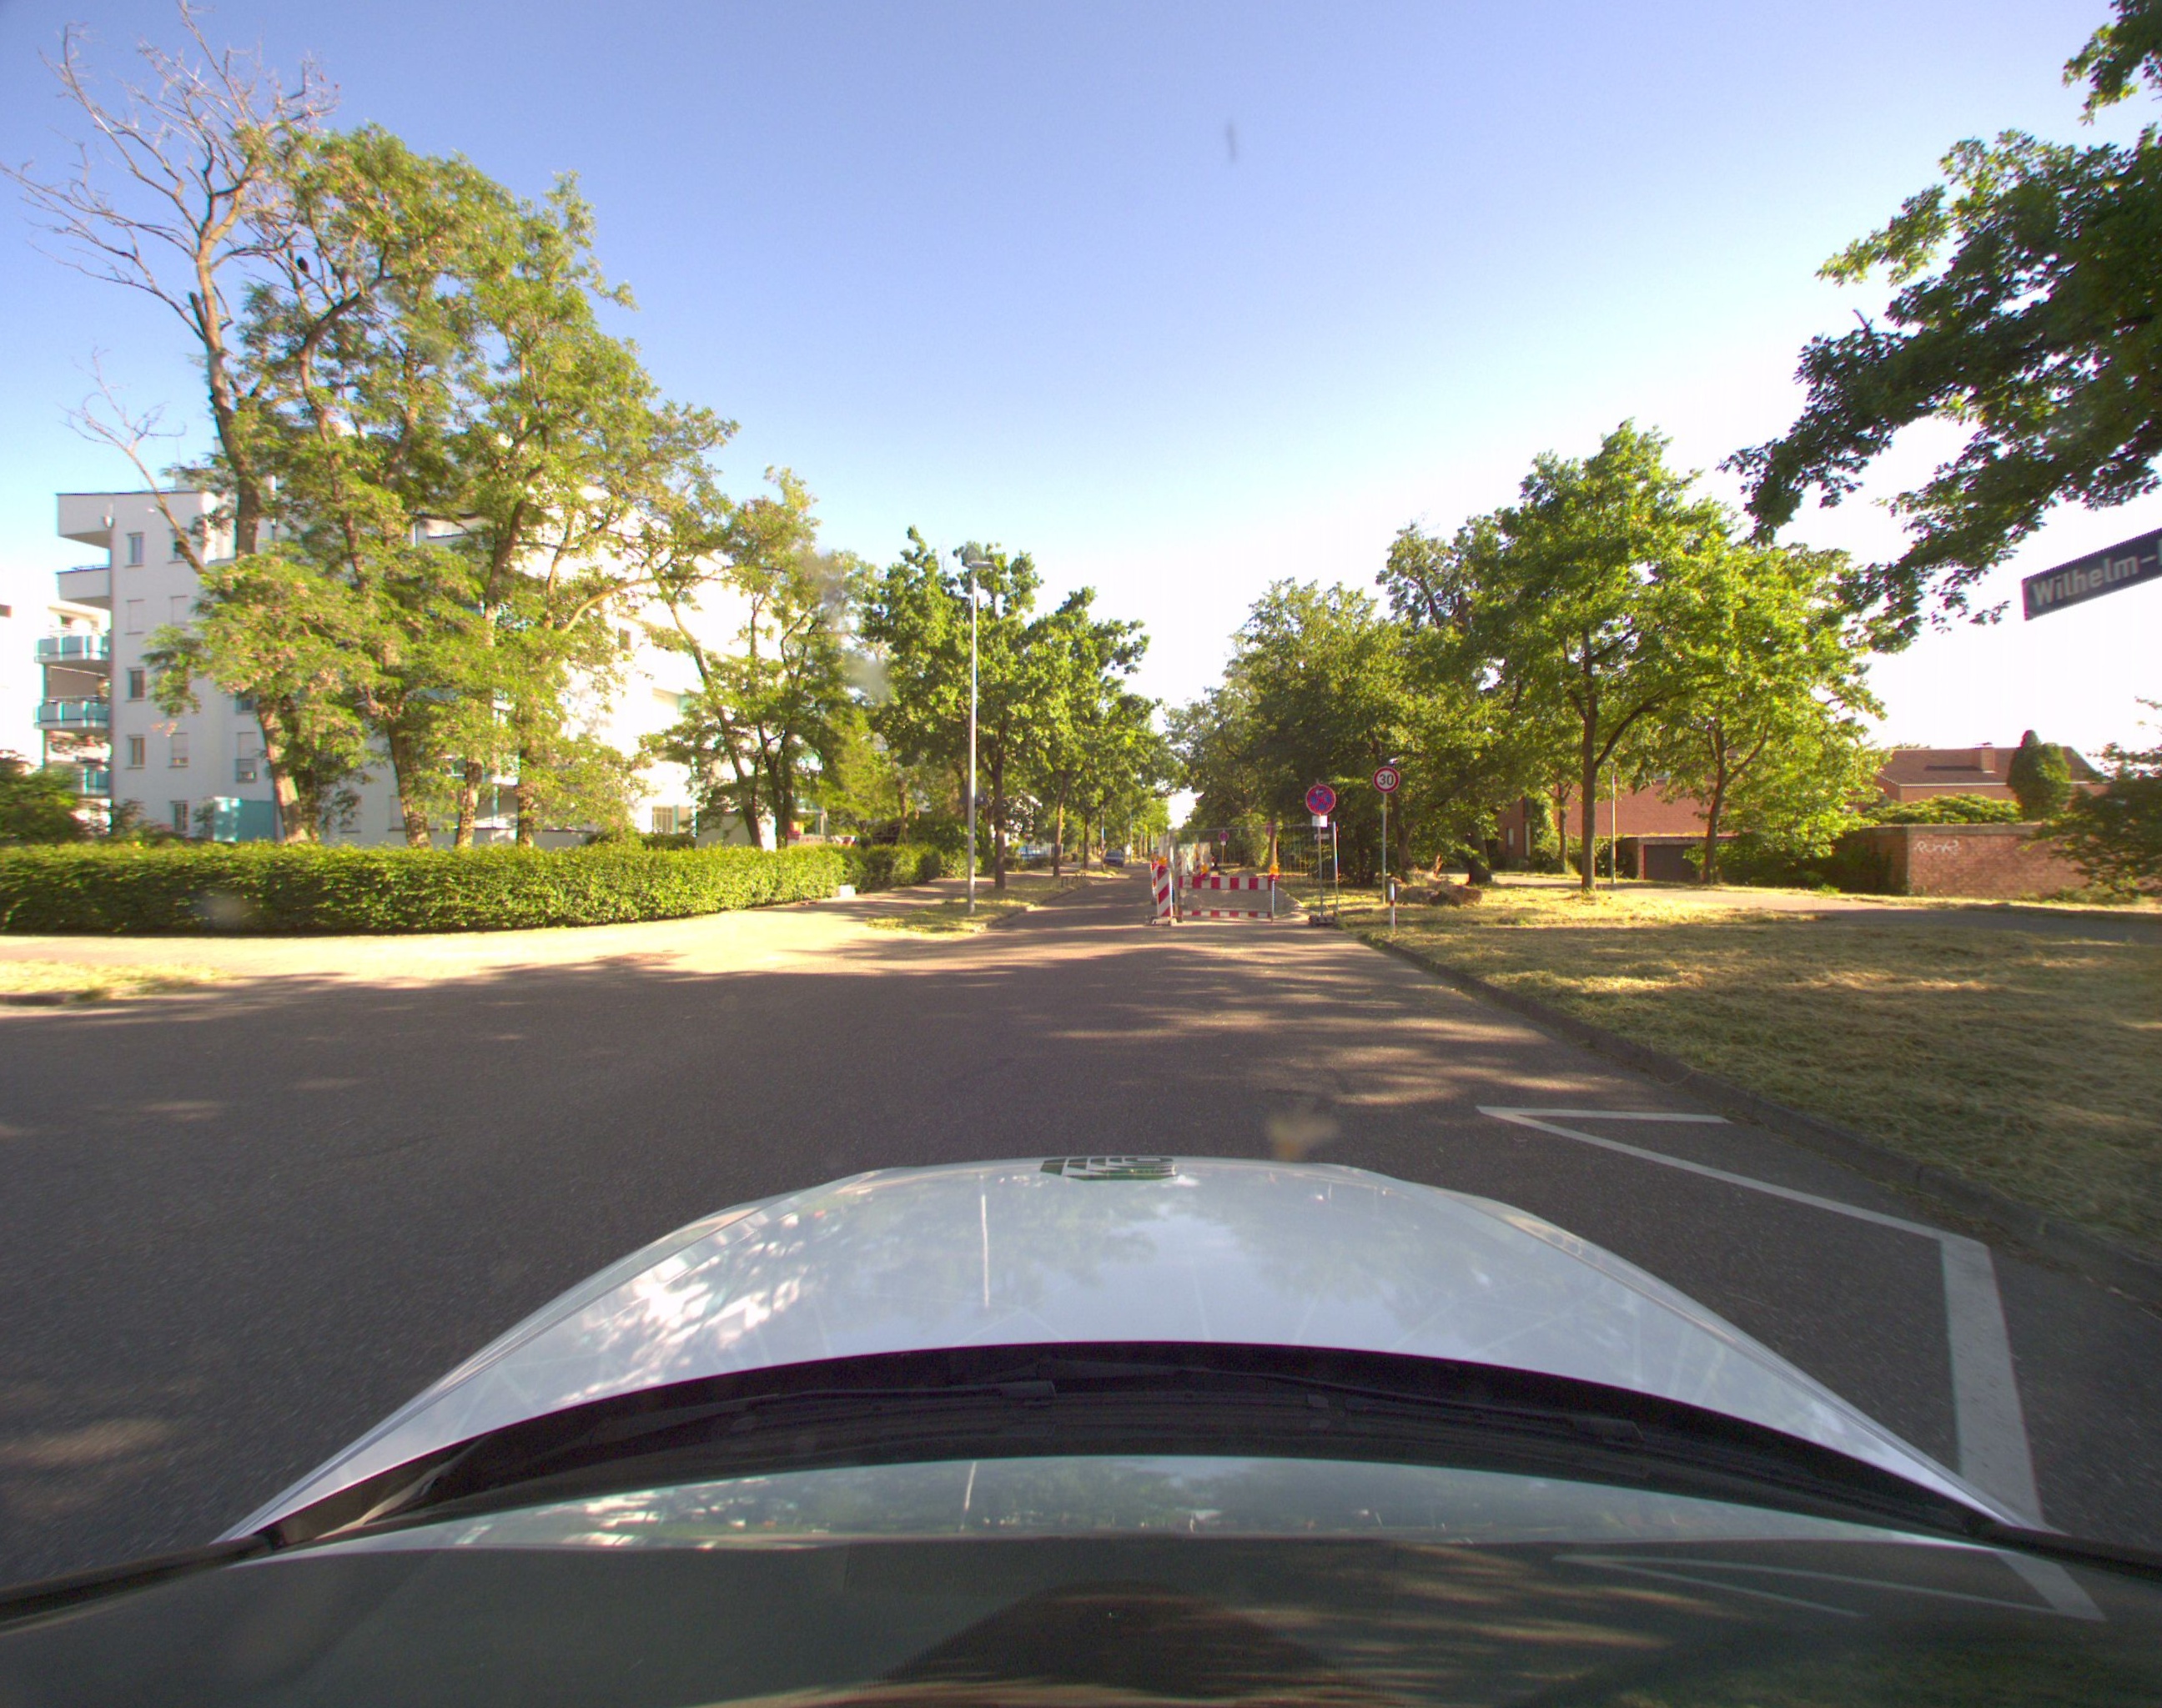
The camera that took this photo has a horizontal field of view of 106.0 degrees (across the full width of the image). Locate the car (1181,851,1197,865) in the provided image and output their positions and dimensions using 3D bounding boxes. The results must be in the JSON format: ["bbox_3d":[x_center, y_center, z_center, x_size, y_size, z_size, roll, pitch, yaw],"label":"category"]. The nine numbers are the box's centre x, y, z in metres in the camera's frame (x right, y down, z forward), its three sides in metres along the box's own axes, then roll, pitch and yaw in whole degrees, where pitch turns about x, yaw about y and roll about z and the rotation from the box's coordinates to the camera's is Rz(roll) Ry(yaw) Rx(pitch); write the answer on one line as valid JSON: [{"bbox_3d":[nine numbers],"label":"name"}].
[{"bbox_3d":[10.725,0.408,81.141,1.355,1.302,3.485,1,-1,4],"label":"car"}]

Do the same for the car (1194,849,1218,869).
[{"bbox_3d":[10.076,0.387,65.766,1.744,1.595,3.663,0,0,5],"label":"car"}]

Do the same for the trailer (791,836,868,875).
[{"bbox_3d":[-13.602,0.062,44.297,1.962,2.042,4.446,0,0,13],"label":"trailer"}]

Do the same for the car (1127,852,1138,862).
[{"bbox_3d":[6.800,0.422,107.240,1.355,1.302,3.485,1,-1,4],"label":"car"}]
